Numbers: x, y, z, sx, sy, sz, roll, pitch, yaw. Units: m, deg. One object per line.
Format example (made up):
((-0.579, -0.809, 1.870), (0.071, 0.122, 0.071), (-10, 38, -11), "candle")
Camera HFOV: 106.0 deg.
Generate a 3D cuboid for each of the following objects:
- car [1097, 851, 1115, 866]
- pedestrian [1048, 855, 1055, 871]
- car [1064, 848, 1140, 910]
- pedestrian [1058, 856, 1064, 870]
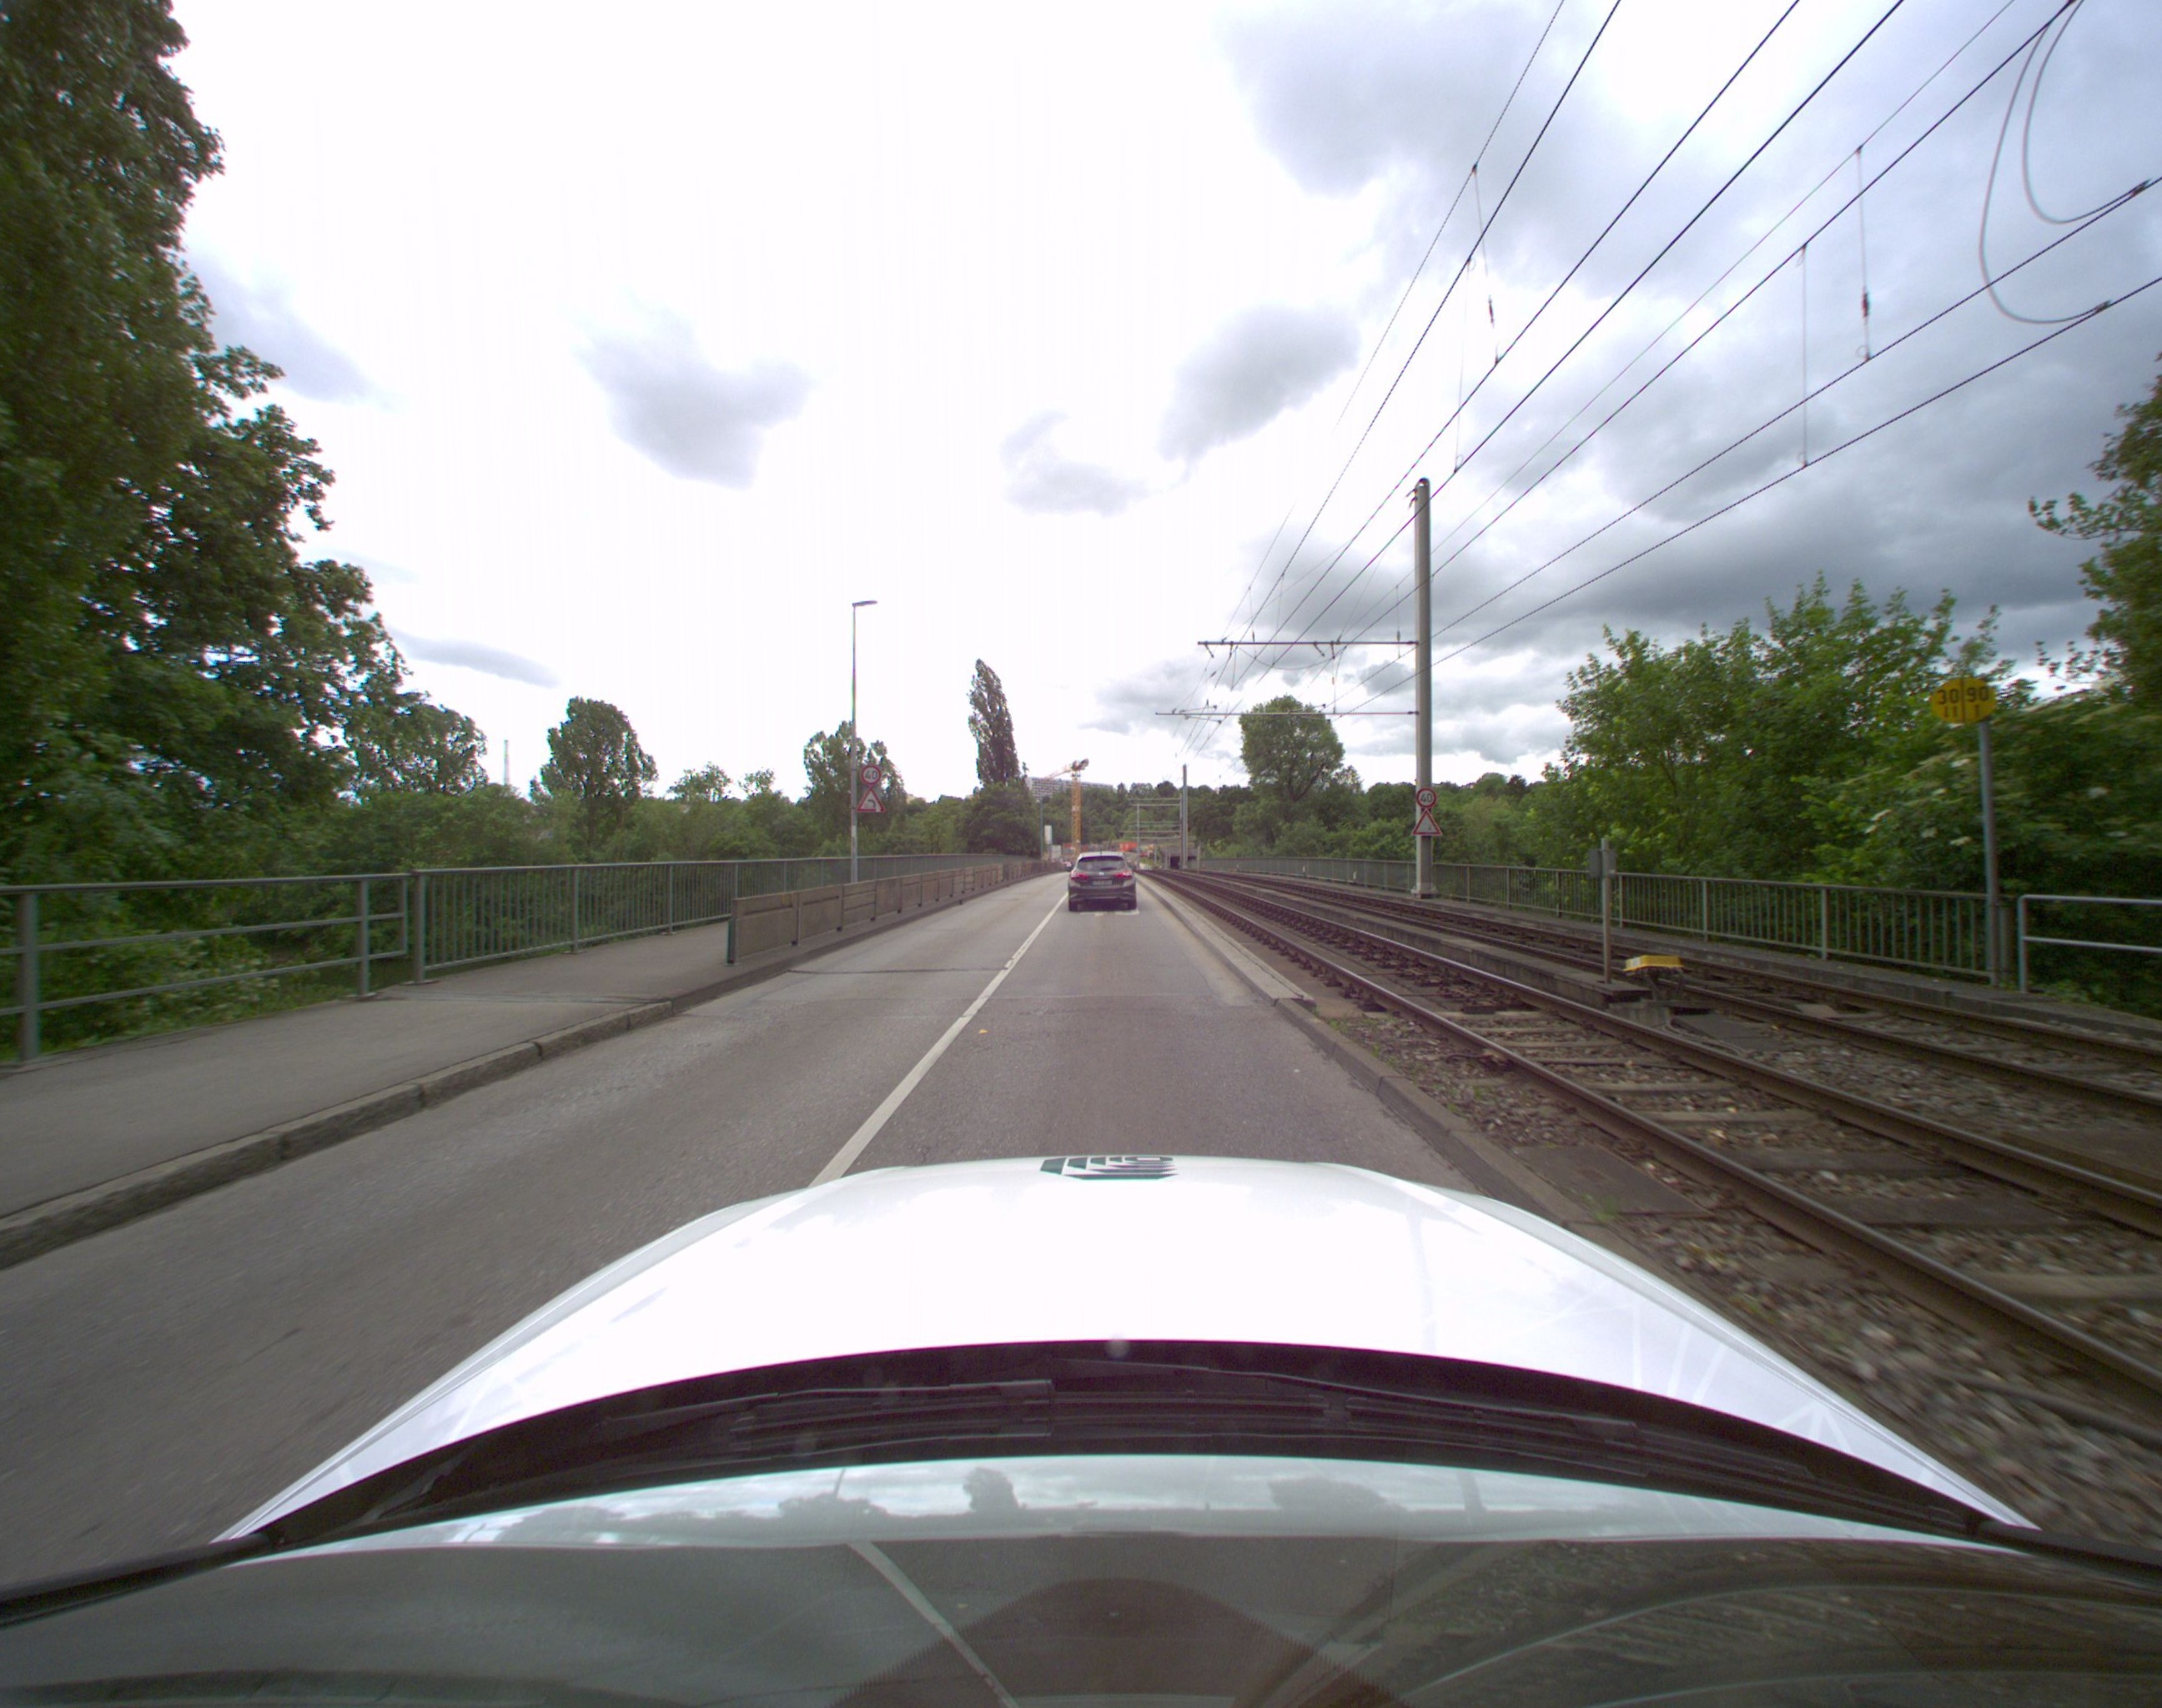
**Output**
((2.761, 0.508, 91.661), (1.676, 1.606, 4.305), (1, 0, -2), "car")
((-3.544, 1.090, 97.770), (0.718, 1.839, 0.723), (-1, -1, 1), "pedestrian")
((0.491, 0.650, 22.418), (1.825, 1.510, 3.997), (-1, -1, -2), "car")
((-2.363, 1.071, 96.867), (0.718, 1.701, 0.723), (-1, -1, 1), "pedestrian")
